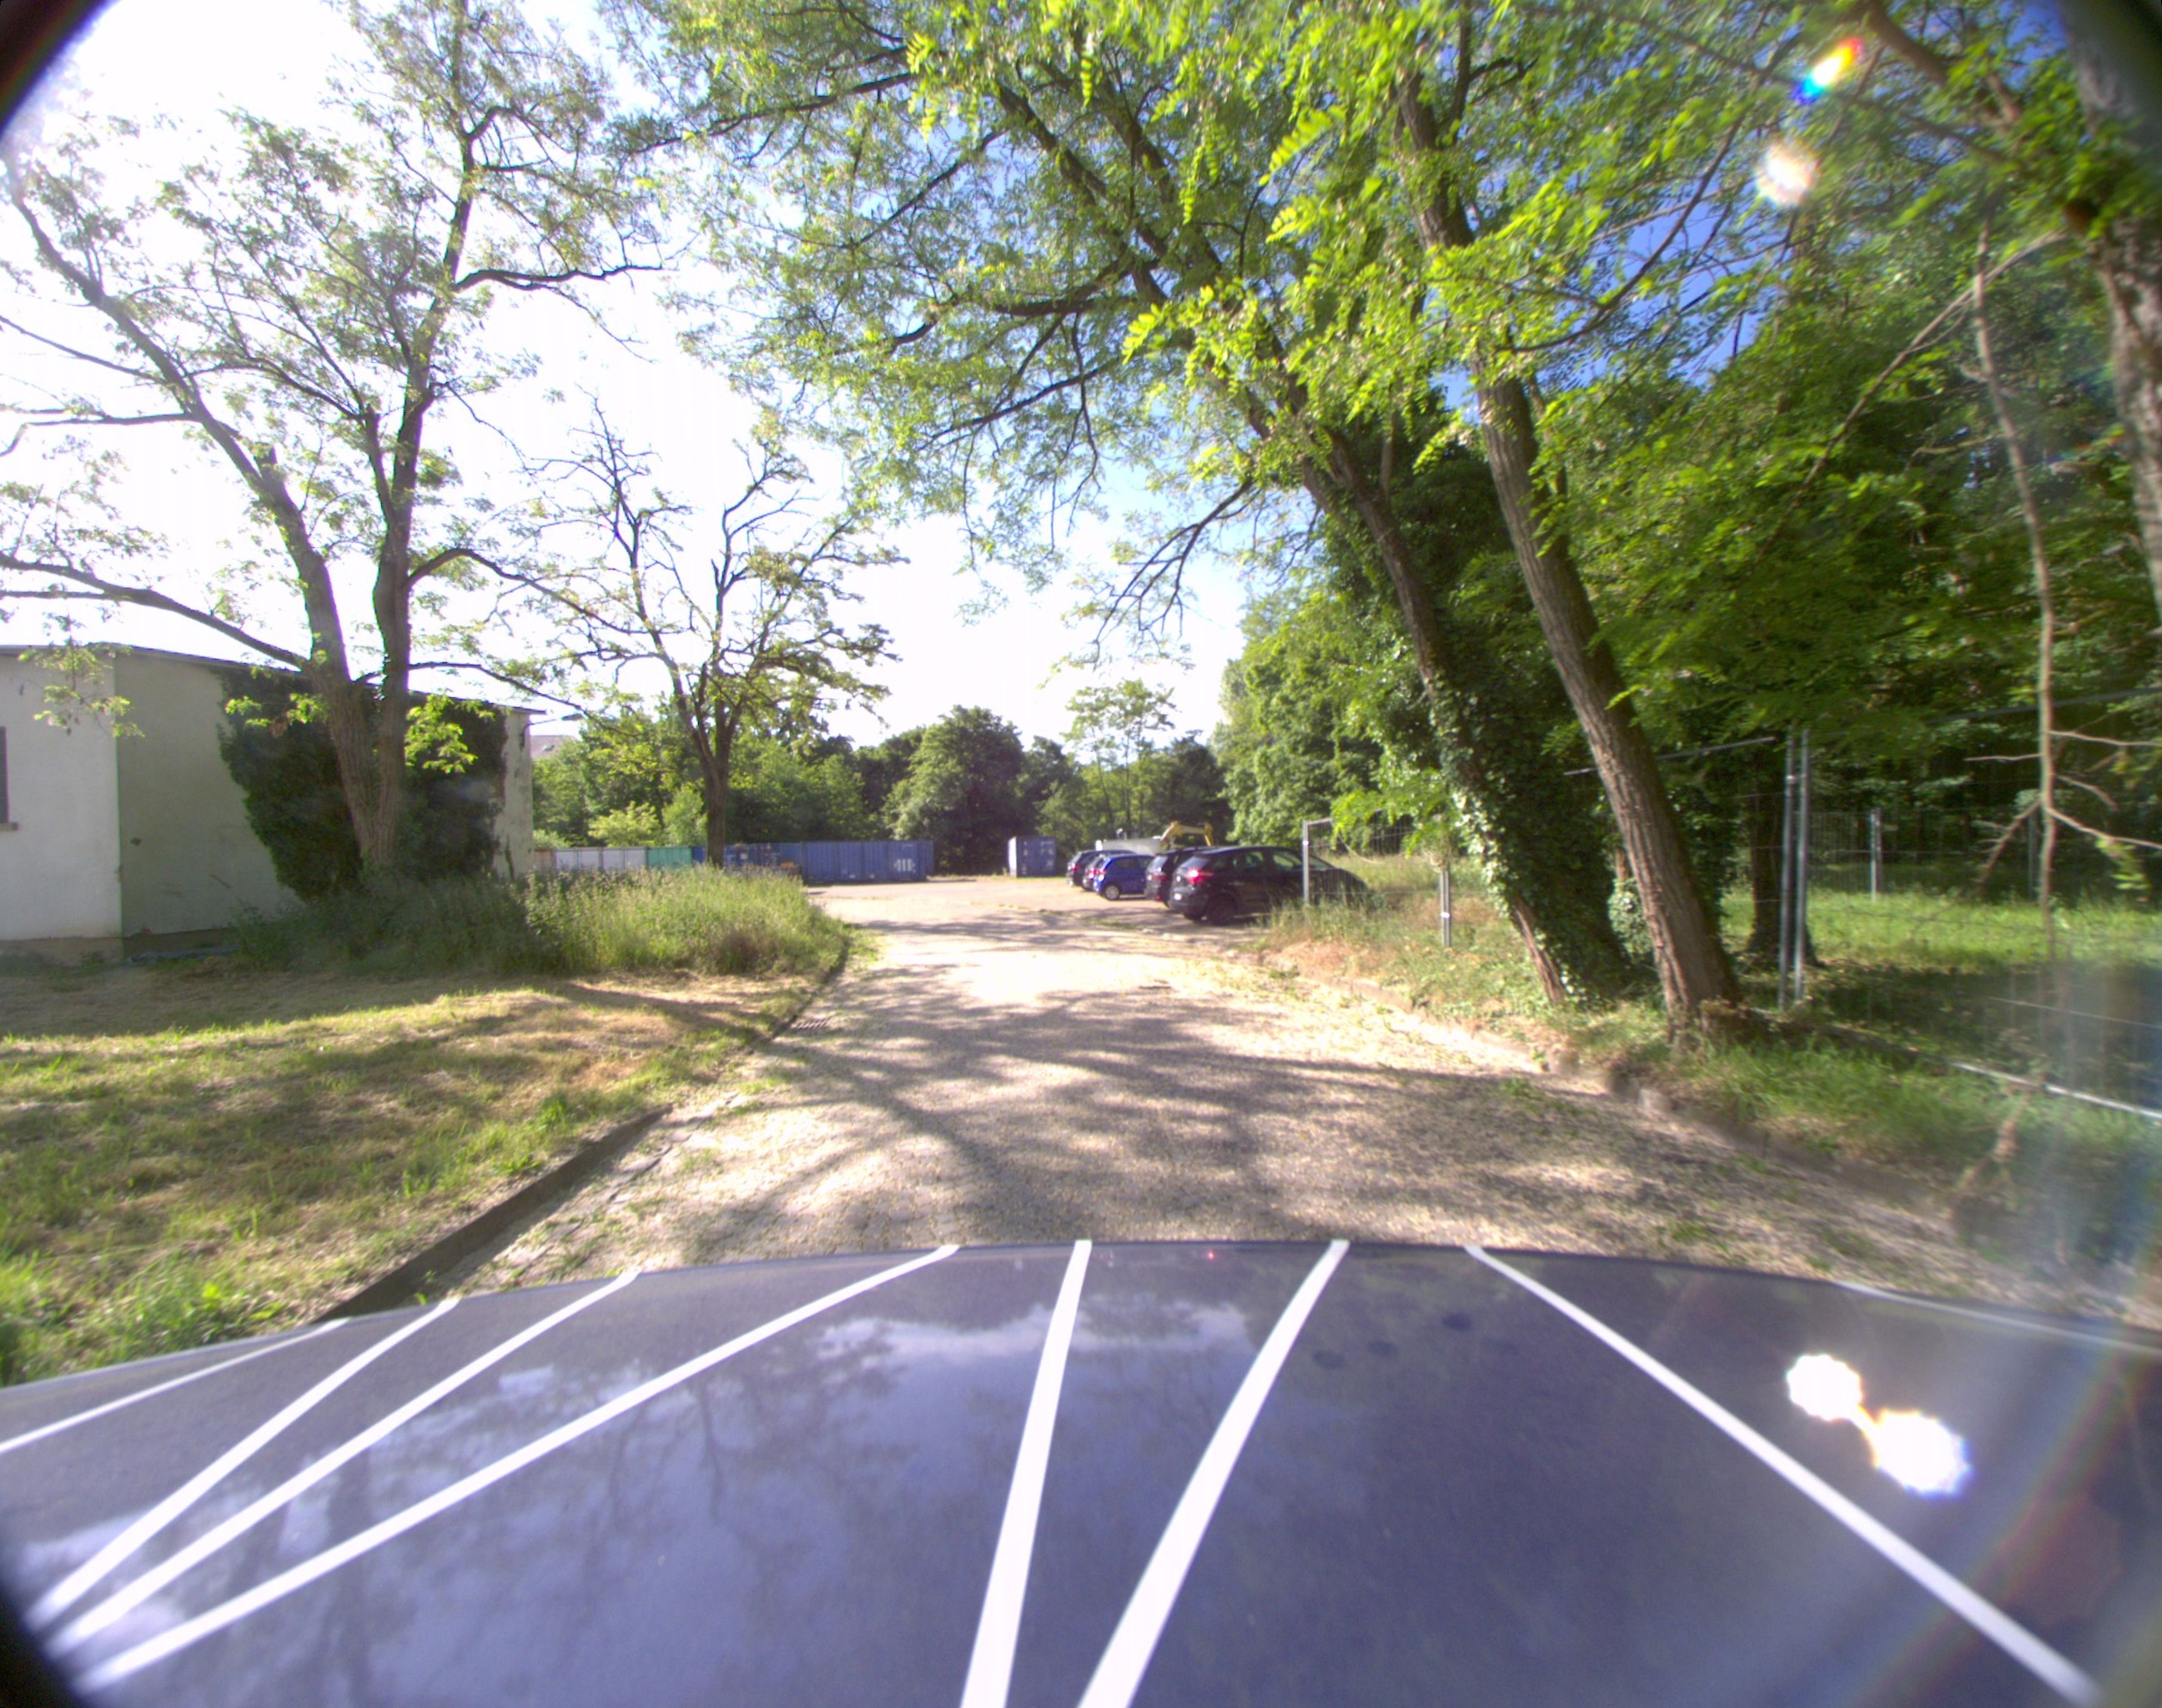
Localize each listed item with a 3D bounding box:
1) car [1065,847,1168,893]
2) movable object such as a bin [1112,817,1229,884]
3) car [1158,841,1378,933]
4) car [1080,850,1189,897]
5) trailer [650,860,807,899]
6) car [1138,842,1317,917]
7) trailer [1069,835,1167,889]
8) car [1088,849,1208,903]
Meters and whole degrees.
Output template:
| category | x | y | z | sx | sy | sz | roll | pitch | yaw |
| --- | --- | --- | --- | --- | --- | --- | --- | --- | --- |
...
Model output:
| category | x | y | z | sx | sy | sz | roll | pitch | yaw |
| --- | --- | --- | --- | --- | --- | --- | --- | --- | --- |
| car | 1.371 | 0.615 | 30.237 | 3.819 | 1.631 | 1.867 | -2 | 0 | -5 |
| movable object such as a bin | 4.147 | -0.167 | 35.808 | 5.162 | 2.949 | 1.999 | -2 | 1 | -3 |
| car | 4.093 | 0.669 | 16.841 | 4.301 | 1.642 | 1.791 | -4 | 1 | -12 |
| car | 1.916 | 0.667 | 27.850 | 3.663 | 1.443 | 1.833 | -3 | 1 | -7 |
| trailer | -17.424 | 1.241 | 37.975 | 6.492 | 1.509 | 2.853 | -2 | 2 | -7 |
| car | 3.796 | 0.627 | 19.997 | 4.190 | 1.646 | 1.816 | -3 | 1 | -8 |
| trailer | 1.594 | 0.337 | 33.203 | 3.972 | 2.082 | 1.638 | -3 | 1 | -7 |
| car | 2.169 | 0.712 | 25.203 | 3.662 | 1.484 | 1.713 | -4 | 1 | -5 |
